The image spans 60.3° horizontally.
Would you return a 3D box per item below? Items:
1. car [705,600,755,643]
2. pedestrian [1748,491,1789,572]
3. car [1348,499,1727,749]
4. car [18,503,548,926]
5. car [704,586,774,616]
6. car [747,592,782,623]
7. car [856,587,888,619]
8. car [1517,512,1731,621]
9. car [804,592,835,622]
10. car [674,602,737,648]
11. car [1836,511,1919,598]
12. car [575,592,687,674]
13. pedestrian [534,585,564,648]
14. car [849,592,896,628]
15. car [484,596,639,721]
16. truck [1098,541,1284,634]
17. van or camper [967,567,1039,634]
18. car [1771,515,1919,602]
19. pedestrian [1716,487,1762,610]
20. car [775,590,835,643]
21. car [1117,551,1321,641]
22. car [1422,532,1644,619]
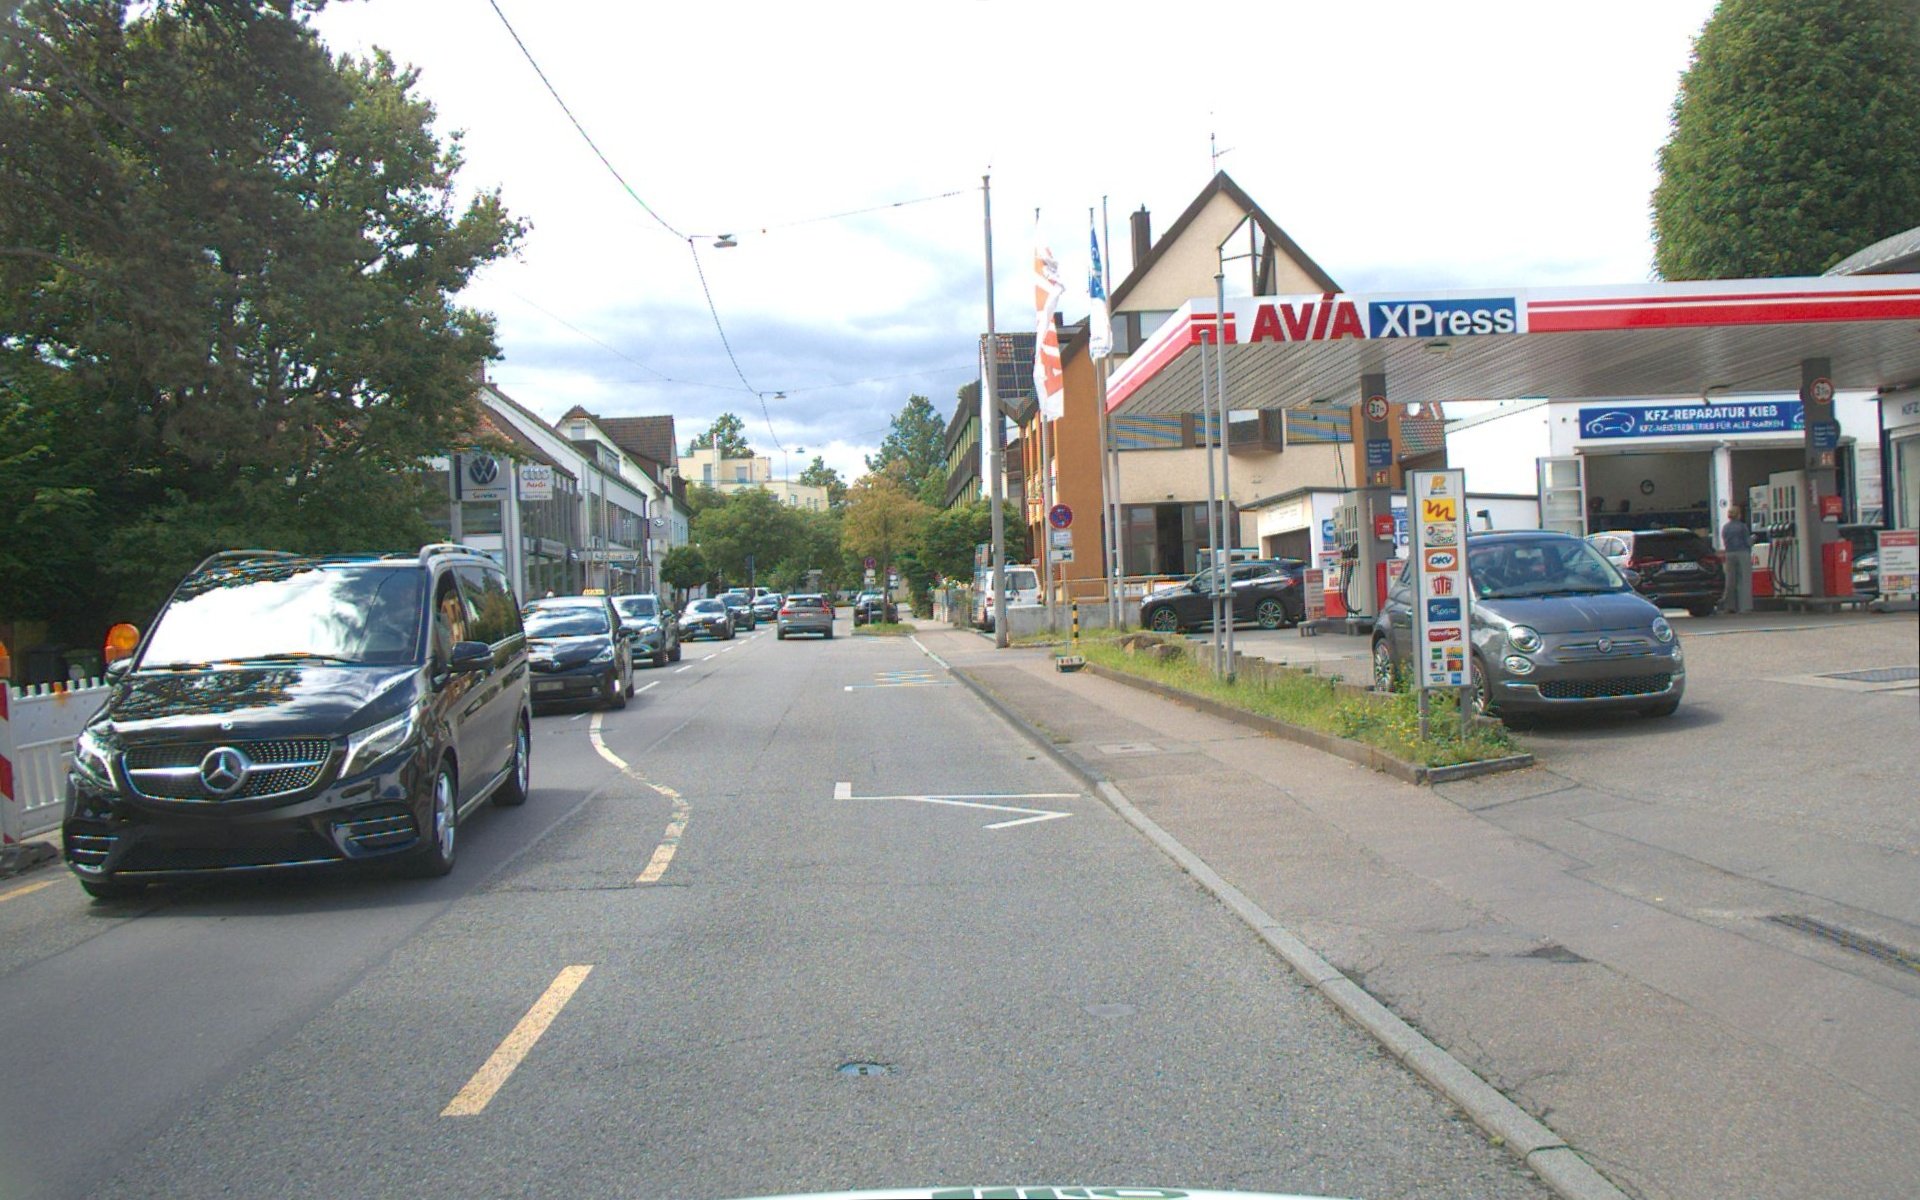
[{"bbox_3d":[-9.932,0.902,71.555,1.795,1.658,4.317,-3,1,-4],"label":"car"},{"bbox_3d":[19.114,-1.612,39.092,0.663,1.877,0.680,-2,-1,43],"label":"pedestrian"},{"bbox_3d":[4.753,0.176,14.289,1.584,1.622,4.158,-8,0,-1],"label":"car"},{"bbox_3d":[-3.928,0.533,10.606,1.873,1.986,4.905,-3,1,-8],"label":"car"},{"bbox_3d":[-18.112,0.066,135.509,5.102,2.028,2.110,-4,0,13],"label":"car"},{"bbox_3d":[-10.497,0.405,89.036,1.796,1.550,4.164,-3,0,-6],"label":"car"},{"bbox_3d":[-4.893,0.166,92.504,1.656,1.695,4.460,-3,0,-2],"label":"car"},{"bbox_3d":[11.170,-0.493,28.191,1.597,1.636,4.568,-2,-1,-2],"label":"car"},{"bbox_3d":[-7.849,0.384,92.080,1.584,1.550,3.564,-3,0,-6],"label":"car"},{"bbox_3d":[-9.003,0.843,58.710,1.706,1.454,4.521,-3,0,-3],"label":"car"},{"bbox_3d":[19.214,-0.968,31.889,3.670,1.485,1.712,-4,-3,-5],"label":"car"},{"bbox_3d":[-7.590,0.707,38.553,1.828,1.646,4.533,-3,1,-3],"label":"car"},{"bbox_3d":[-11.640,0.462,46.884,0.669,1.767,0.867,-1,-1,-5],"label":"pedestrian"},{"bbox_3d":[-3.916,0.457,73.217,1.945,1.473,4.748,-3,0,-4],"label":"car"},{"bbox_3d":[-5.715,0.774,24.188,1.832,1.554,4.517,-3,0,-10],"label":"car"},{"bbox_3d":[6.716,-0.394,48.431,4.987,2.500,2.355,-2,1,-4],"label":"truck"},{"bbox_3d":[1.351,0.043,53.498,1.830,2.067,4.543,-1,-1,-5],"label":"van or camper"},{"bbox_3d":[19.013,-0.904,34.206,3.668,1.465,1.621,-5,4,-2],"label":"car"},{"bbox_3d":[12.724,-0.826,27.006,0.575,1.969,0.539,-2,-1,33],"label":"pedestrian"},{"bbox_3d":[-5.262,0.598,56.112,1.918,1.550,4.323,-2,-3,-5],"label":"car"},{"bbox_3d":[5.941,-0.089,38.099,4.227,1.658,1.632,-5,1,32],"label":"car"},{"bbox_3d":[12.592,-0.512,36.643,4.496,1.747,1.826,-1,-1,16],"label":"car"}]
